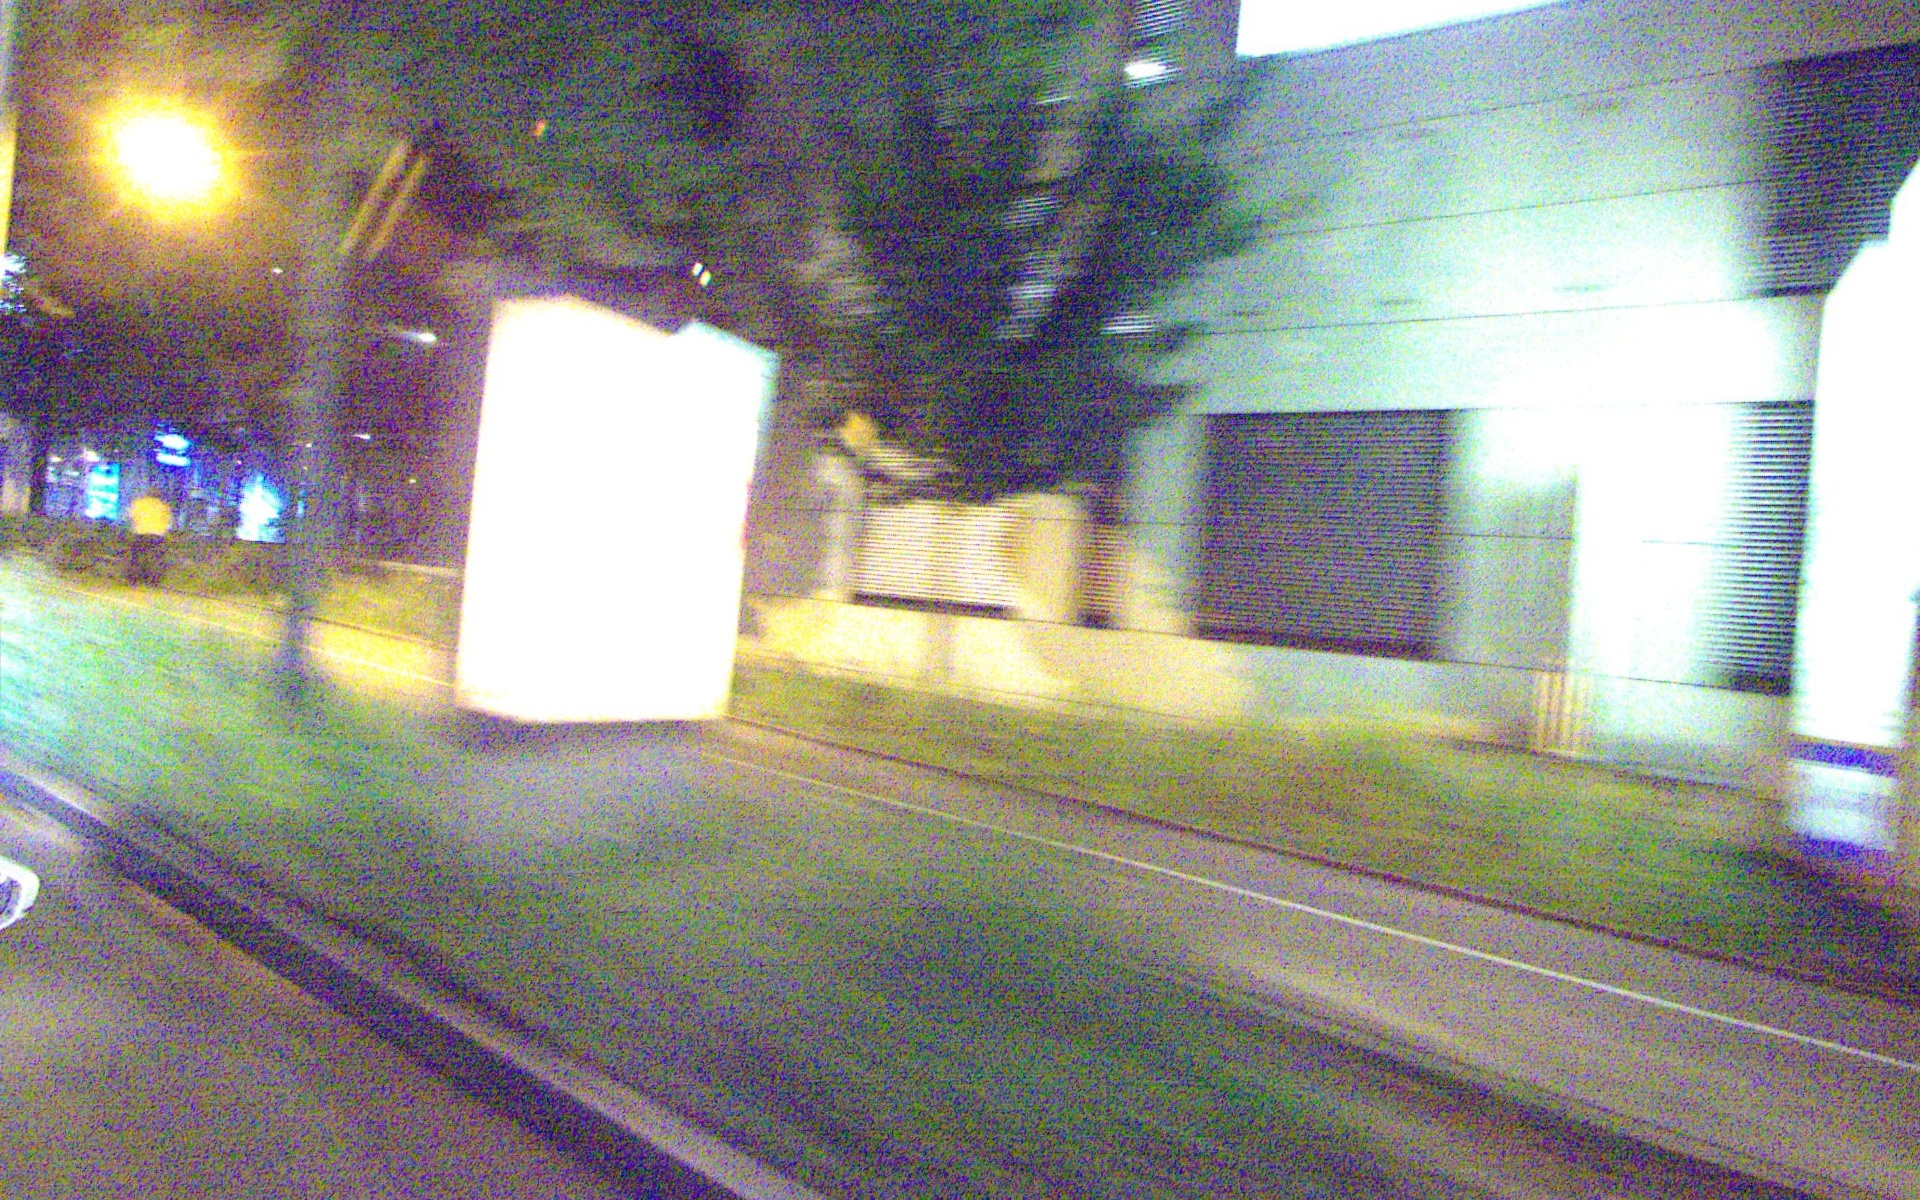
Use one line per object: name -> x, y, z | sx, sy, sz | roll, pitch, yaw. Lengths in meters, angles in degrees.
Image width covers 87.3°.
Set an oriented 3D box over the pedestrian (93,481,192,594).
pedestrian -> -13.846, -1.050, 17.042 | 0.941, 1.726, 0.854 | 6, -2, 30
